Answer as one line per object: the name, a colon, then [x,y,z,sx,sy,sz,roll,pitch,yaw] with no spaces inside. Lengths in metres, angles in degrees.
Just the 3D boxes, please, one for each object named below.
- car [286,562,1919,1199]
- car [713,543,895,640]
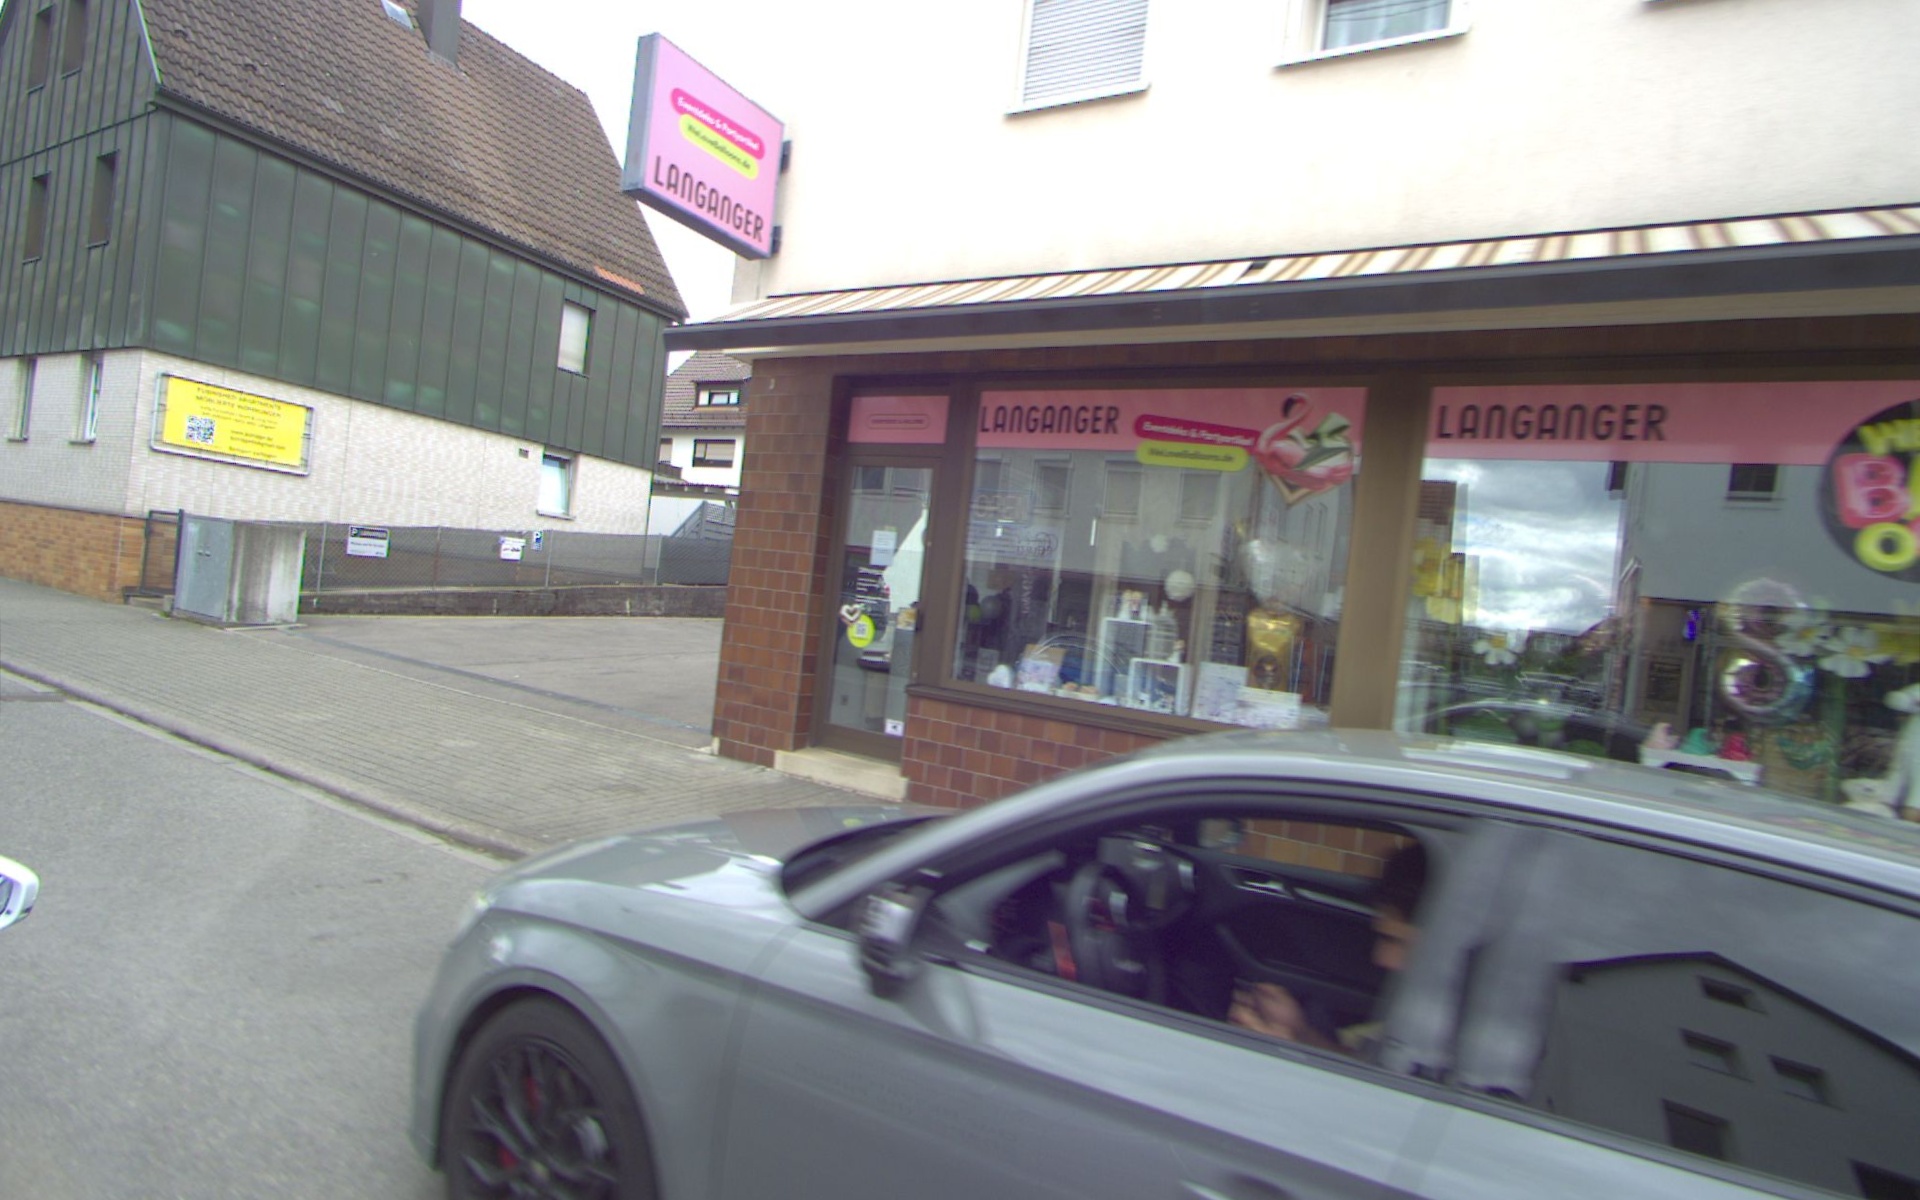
car: [0.752,0.924,2.067,4.040,1.462,1.835,7,-2,30]
car: [-3.340,-0.217,21.044,1.911,1.676,3.955,3,2,-40]
